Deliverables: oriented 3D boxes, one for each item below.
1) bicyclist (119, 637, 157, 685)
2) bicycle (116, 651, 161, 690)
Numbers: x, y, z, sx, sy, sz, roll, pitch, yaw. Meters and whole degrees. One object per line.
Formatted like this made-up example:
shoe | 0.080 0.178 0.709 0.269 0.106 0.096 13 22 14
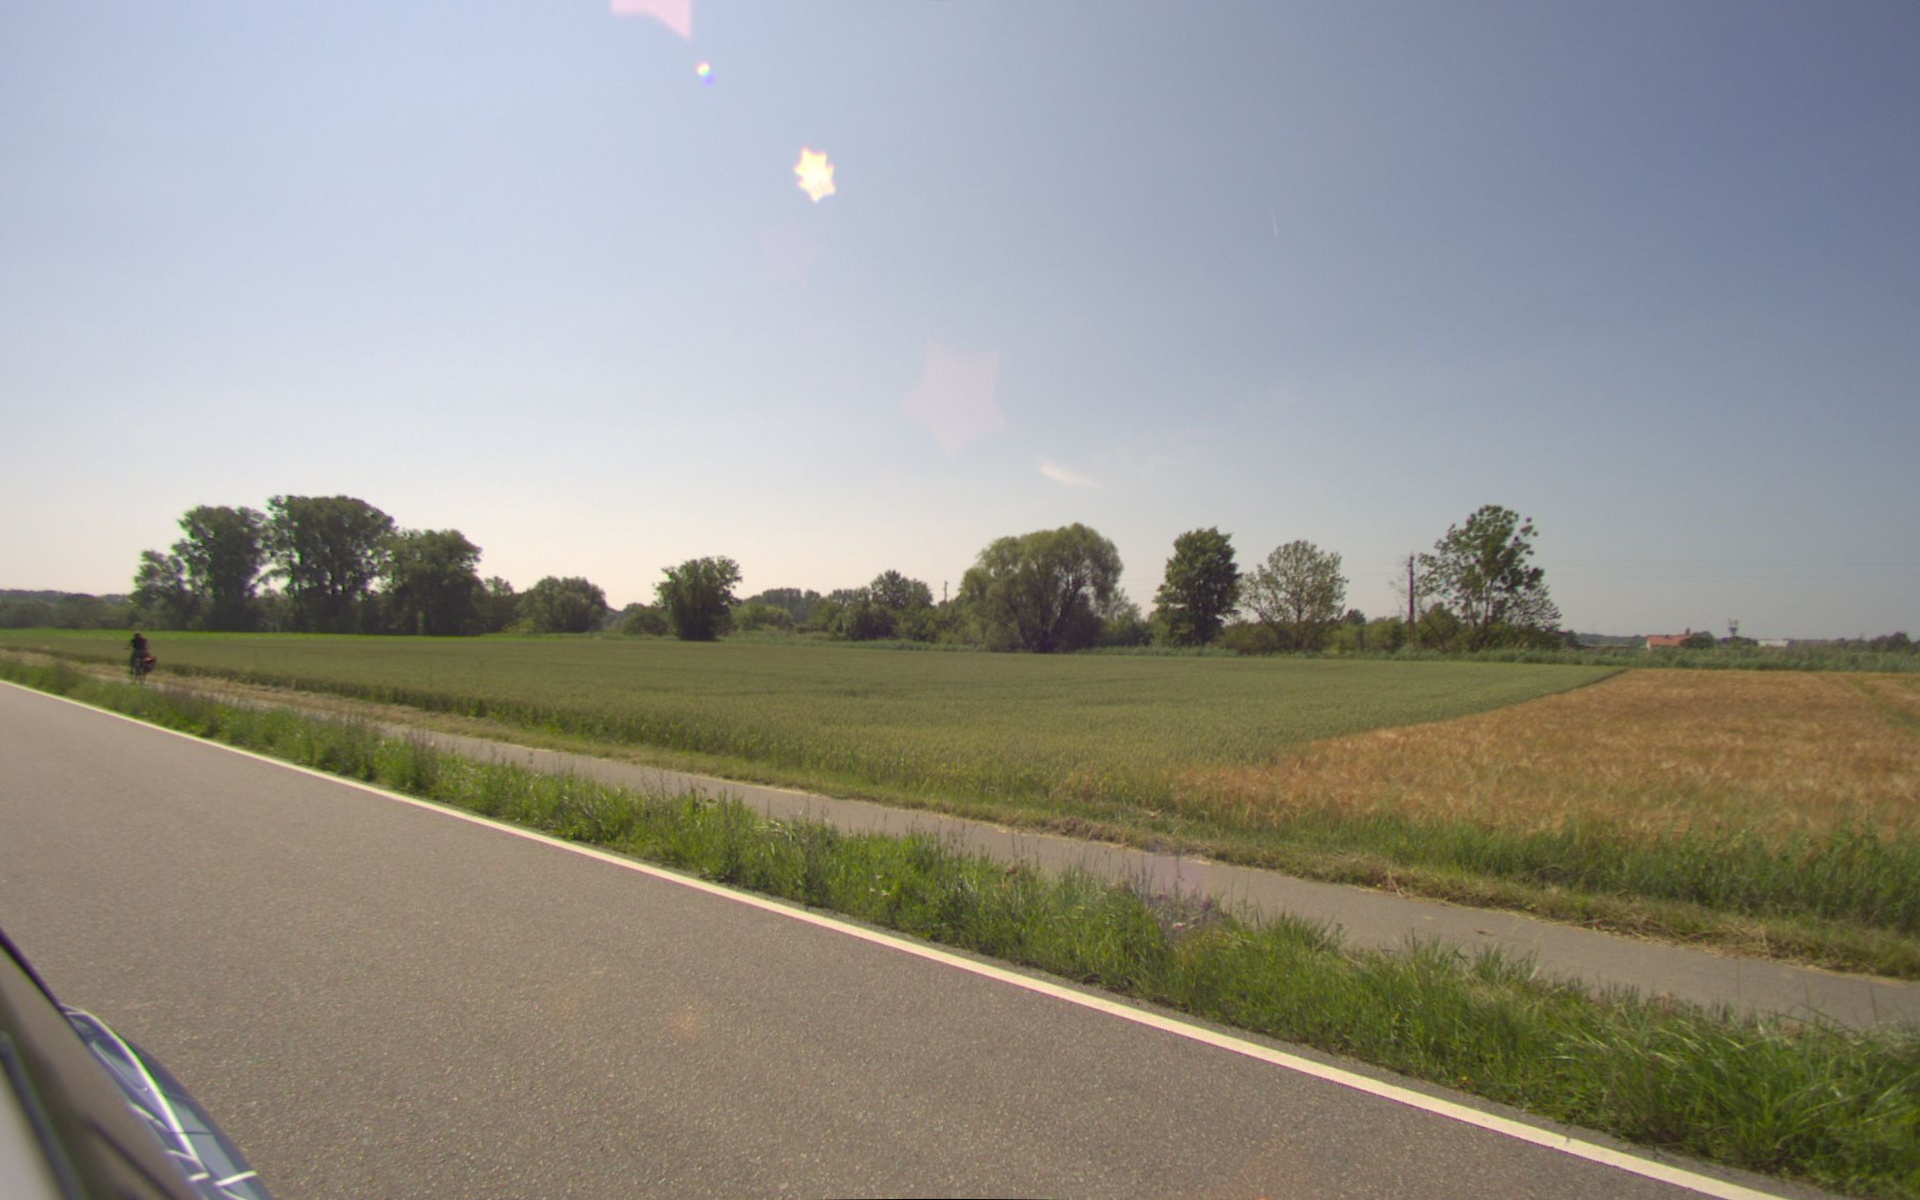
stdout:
bicyclist | -26.231 1.930 32.301 1.002 1.508 0.733 -1 -3 41
bicycle | -26.215 2.225 32.279 2.082 1.180 0.733 -1 -3 42
